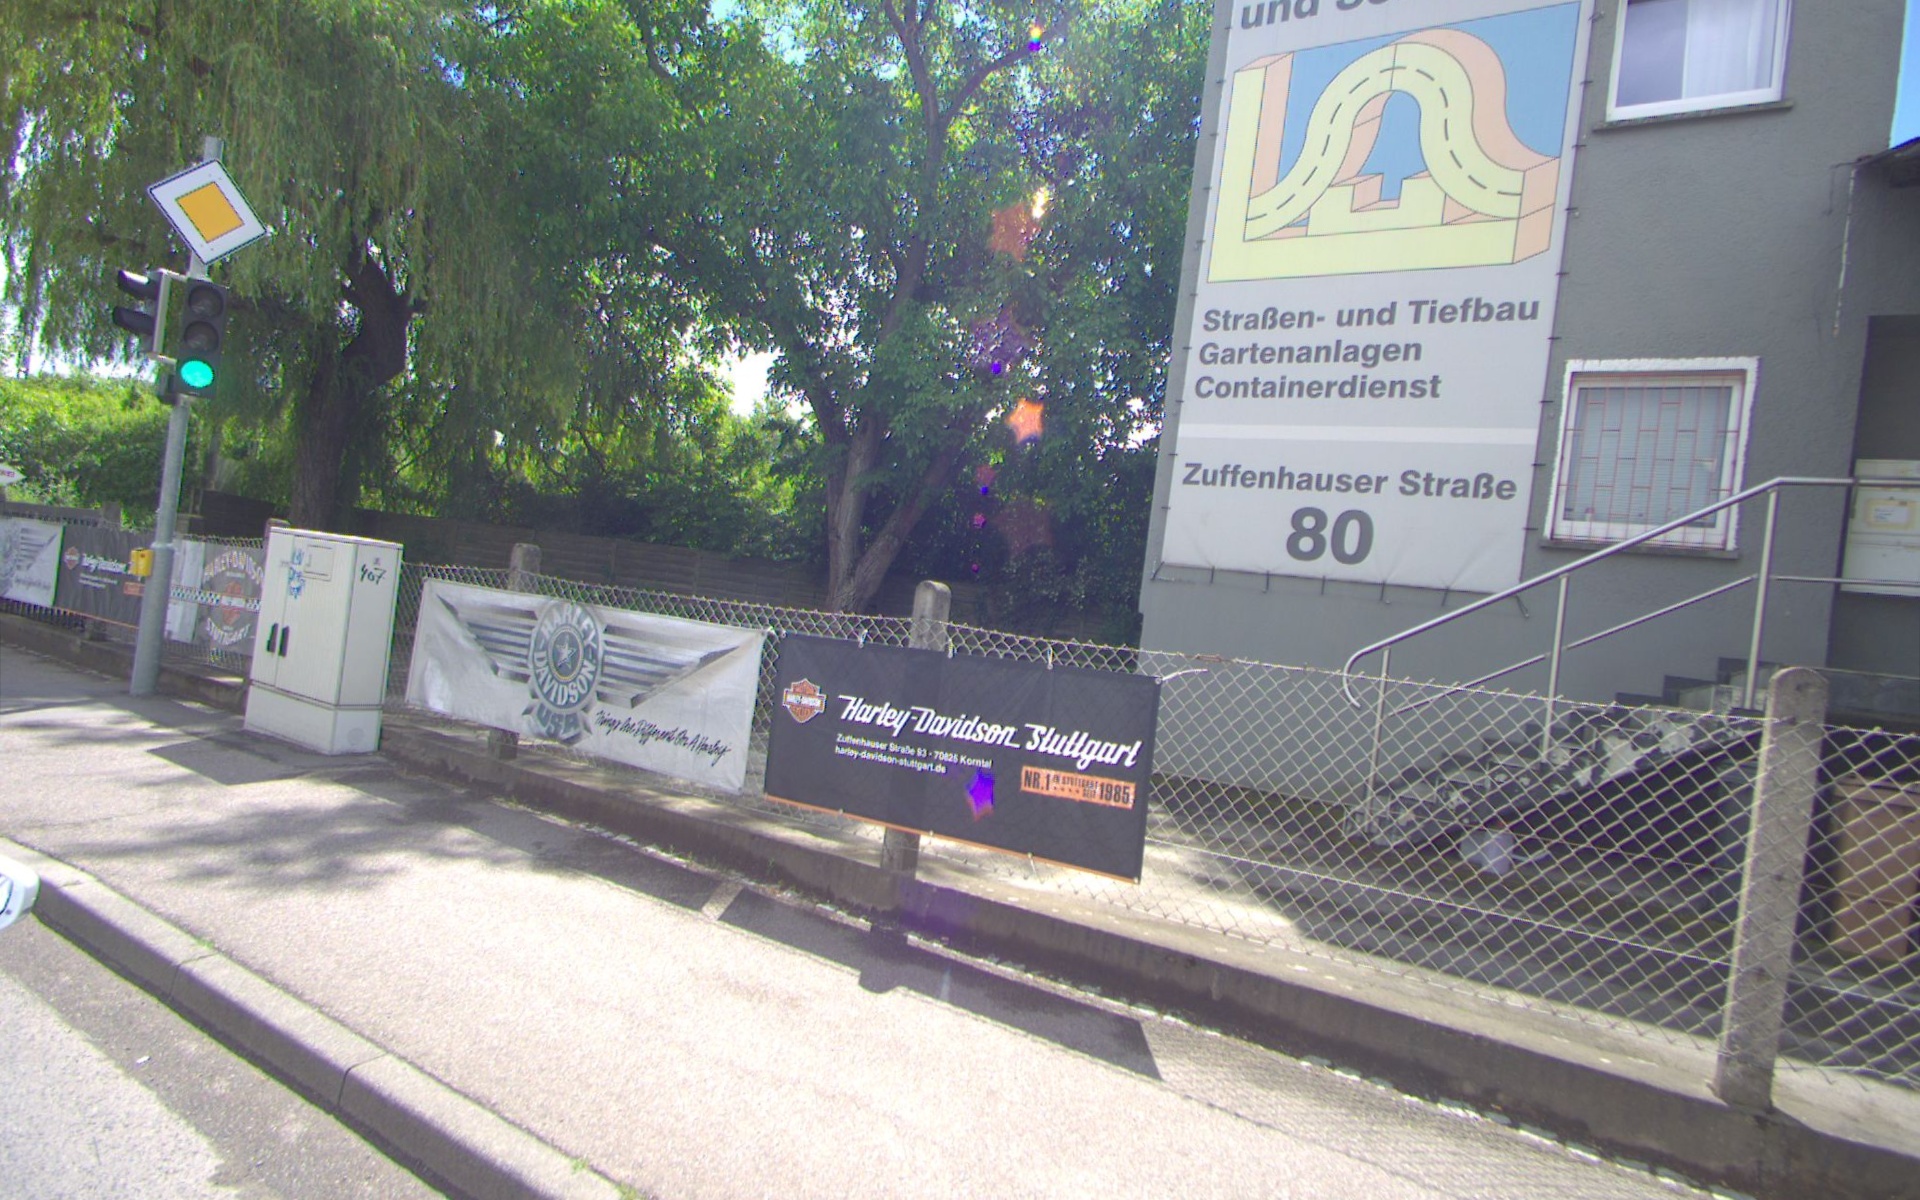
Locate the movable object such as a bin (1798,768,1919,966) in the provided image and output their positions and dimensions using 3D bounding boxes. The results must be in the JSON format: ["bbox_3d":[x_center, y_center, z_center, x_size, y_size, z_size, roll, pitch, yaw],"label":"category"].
[{"bbox_3d":[5.017,1.447,5.539,0.466,0.941,0.482,6,-1,31],"label":"movable object such as a bin"}]

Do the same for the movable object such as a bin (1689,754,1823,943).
[{"bbox_3d":[4.576,1.402,5.809,0.466,0.941,0.482,6,-1,31],"label":"movable object such as a bin"}]
